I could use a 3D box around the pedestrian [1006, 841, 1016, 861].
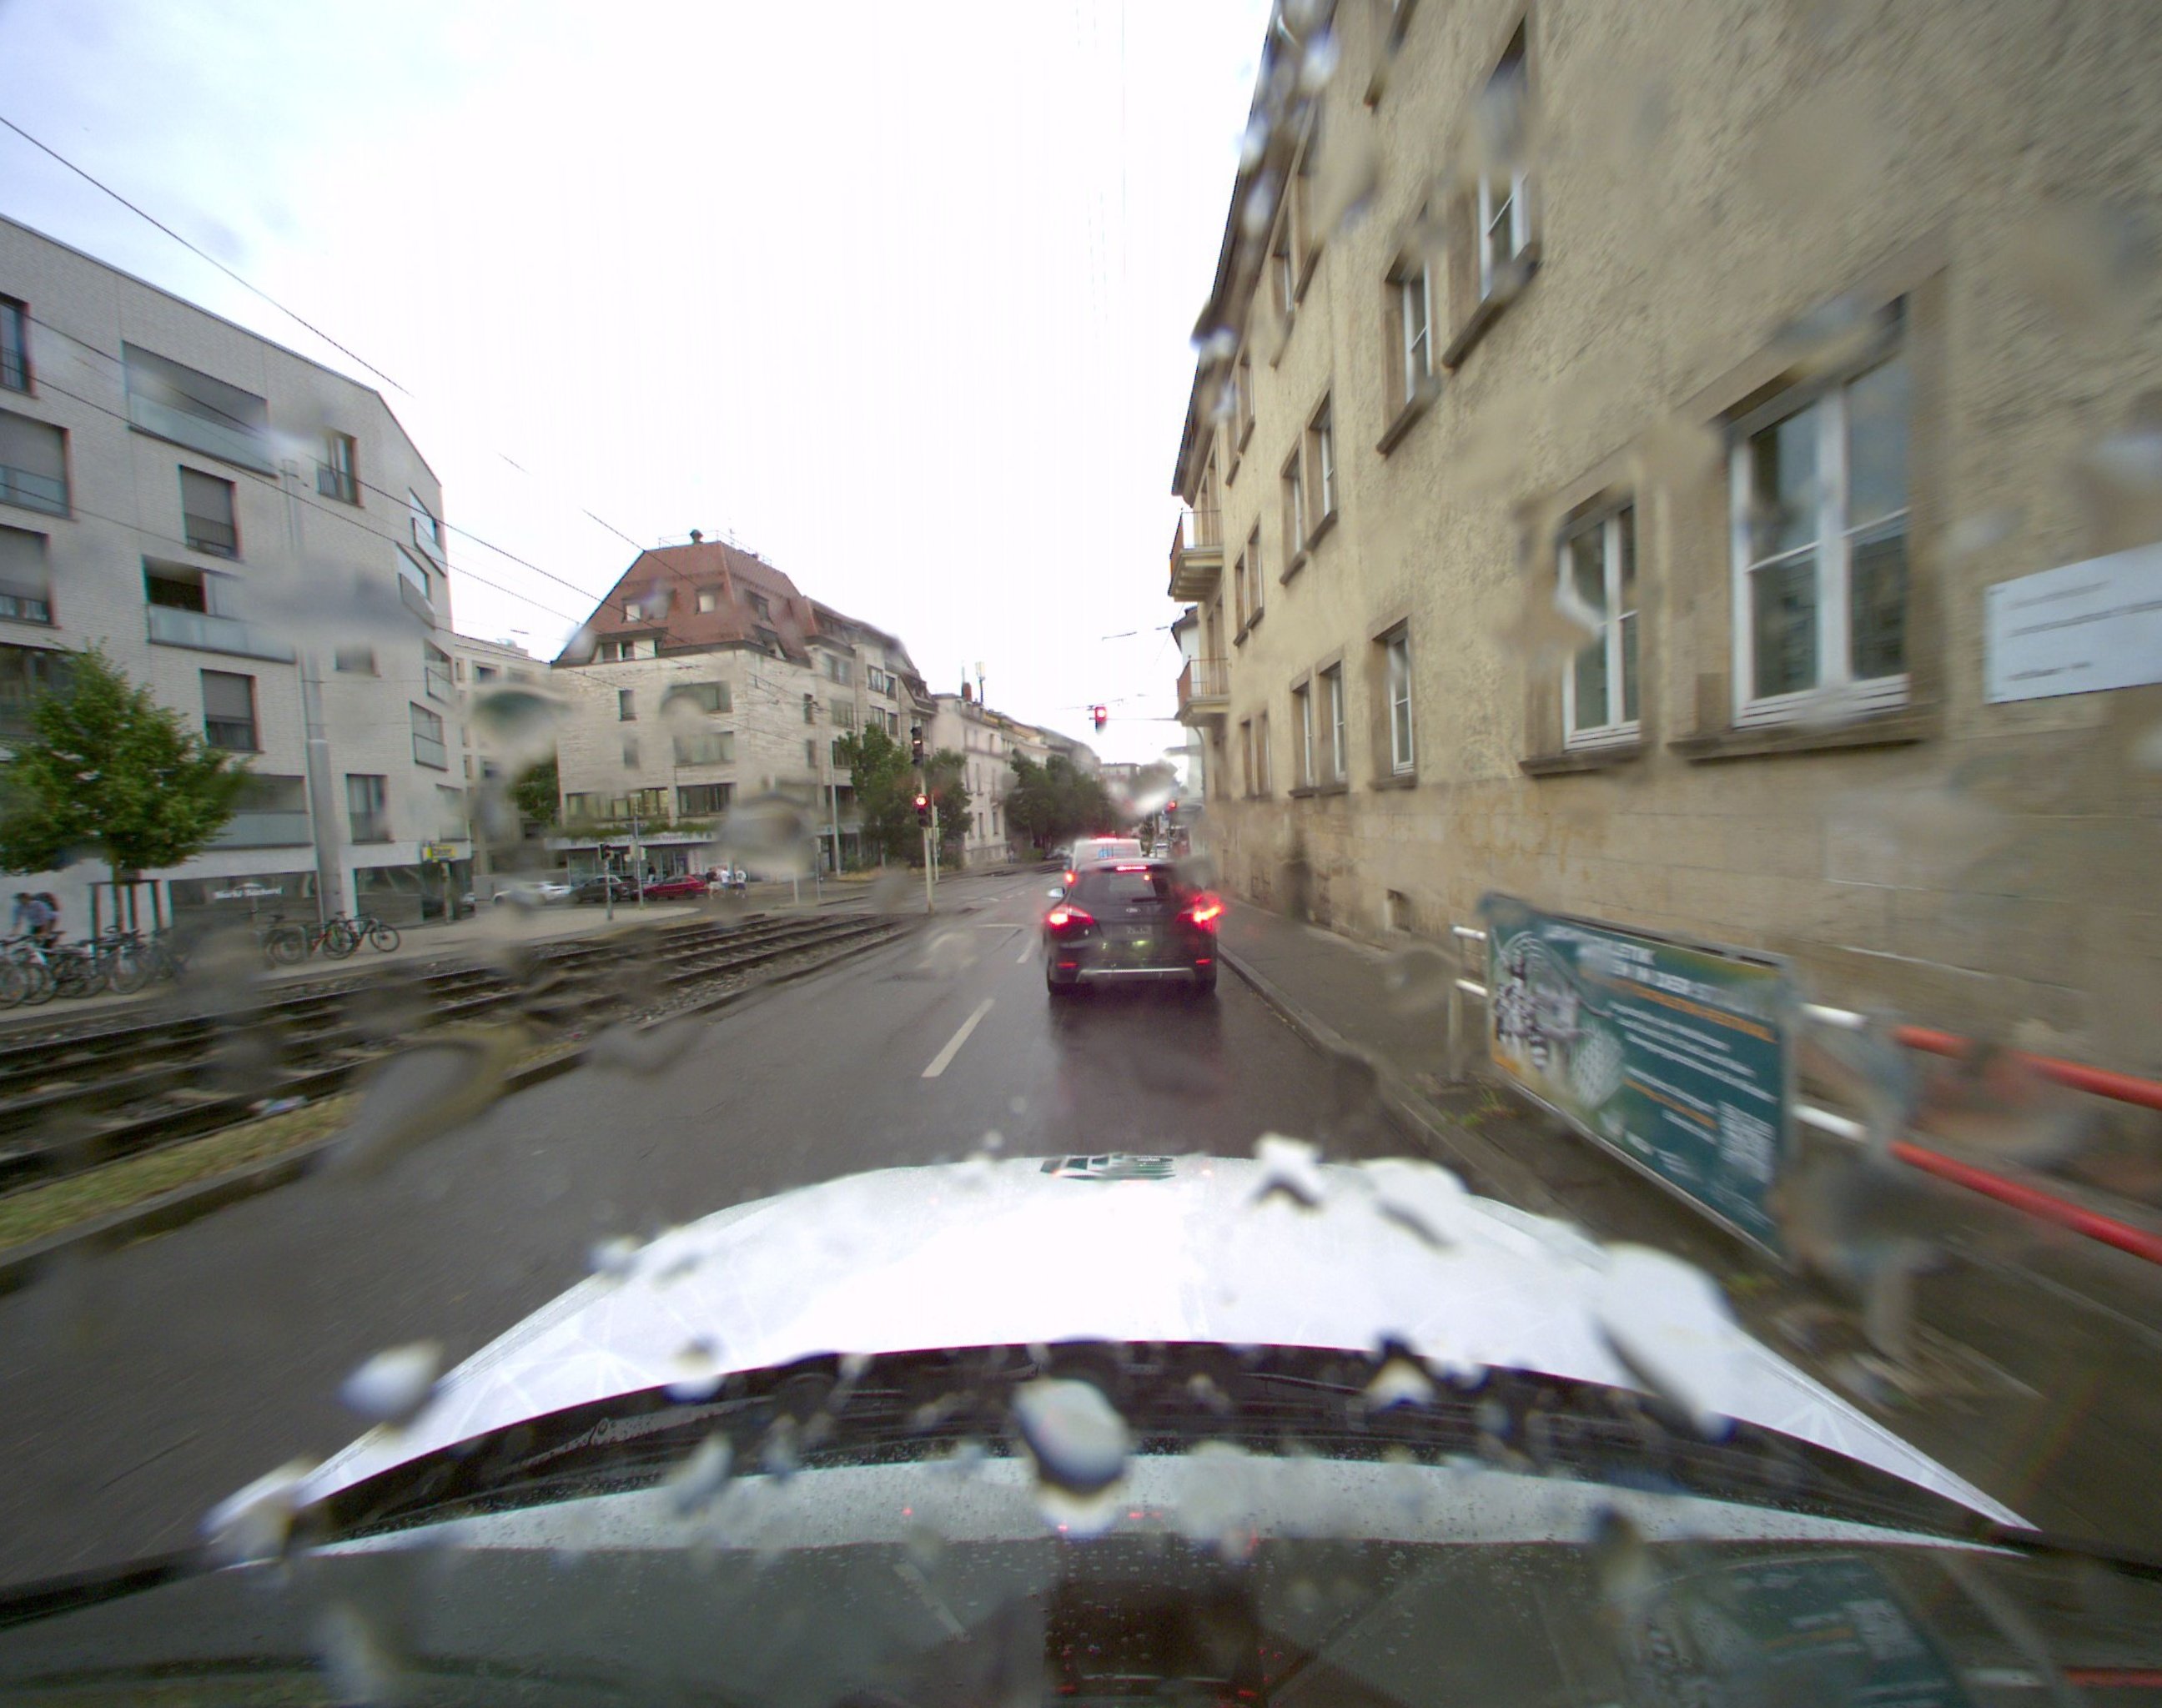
[{"bbox_3d":[-7.438,-0.335,86.388,0.941,2.013,0.763,-3,0,-8],"label":"pedestrian"}]

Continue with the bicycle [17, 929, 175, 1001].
[{"bbox_3d":[-16.915,1.889,14.020,1.798,1.064,0.455,-2,0,-13],"label":"bicycle"}]

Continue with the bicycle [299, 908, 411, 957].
[{"bbox_3d":[-17.770,1.914,19.973,1.947,1.028,0.719,-2,0,-7],"label":"bicycle"}]

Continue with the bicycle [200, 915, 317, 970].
[{"bbox_3d":[-18.211,1.947,18.062,1.797,1.064,0.567,-2,0,-11],"label":"bicycle"}]

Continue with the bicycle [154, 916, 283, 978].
[{"bbox_3d":[-17.816,1.899,16.860,1.802,1.108,0.453,-2,0,-18],"label":"bicycle"}]

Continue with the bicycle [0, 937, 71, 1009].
[{"bbox_3d":[-17.373,1.920,12.934,1.796,1.064,0.456,-2,0,-10],"label":"bicycle"}]

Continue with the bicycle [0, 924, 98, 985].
[{"bbox_3d":[-21.868,2.093,17.054,0.455,1.064,1.800,-2,0,-4],"label":"bicycle"}]

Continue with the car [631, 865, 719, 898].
[{"bbox_3d":[-22.990,1.542,46.150,4.107,1.568,1.829,-3,0,10],"label":"car"}]

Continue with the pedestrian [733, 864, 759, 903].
[{"bbox_3d":[-17.769,1.560,43.257,0.938,2.013,0.765,-3,0,2],"label":"pedestrian"}]

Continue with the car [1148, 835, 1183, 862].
[{"bbox_3d":[6.106,-0.392,58.436,1.980,1.772,4.014,-3,0,13],"label":"car"}]

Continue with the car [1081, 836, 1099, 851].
[{"bbox_3d":[1.348,-1.503,120.243,1.983,2.013,4.008,-3,0,7],"label":"car"}]

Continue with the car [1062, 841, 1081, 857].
[{"bbox_3d":[-1.279,-0.726,108.950,1.983,2.013,4.008,-3,0,7],"label":"car"}]

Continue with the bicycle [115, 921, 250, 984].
[{"bbox_3d":[-17.609,1.914,15.992,1.798,1.064,0.455,-2,0,-13],"label":"bicycle"}]

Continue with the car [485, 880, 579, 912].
[{"bbox_3d":[-32.309,2.465,48.012,4.431,1.568,1.914,-3,0,10],"label":"car"}]

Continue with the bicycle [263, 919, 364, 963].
[{"bbox_3d":[-17.744,2.003,18.851,1.649,0.866,0.567,-2,0,-9],"label":"bicycle"}]

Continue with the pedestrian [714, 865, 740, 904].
[{"bbox_3d":[-18.778,1.619,43.173,0.939,2.013,0.764,-3,0,-2],"label":"pedestrian"}]

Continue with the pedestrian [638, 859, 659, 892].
[{"bbox_3d":[-26.944,1.346,50.712,0.790,2.013,0.706,-3,0,9],"label":"pedestrian"}]

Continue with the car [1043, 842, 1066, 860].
[{"bbox_3d":[-3.096,-0.355,96.360,1.983,2.013,4.008,-3,0,7],"label":"car"}]

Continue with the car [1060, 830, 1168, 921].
[{"bbox_3d":[0.653,0.438,19.043,2.131,1.745,4.216,-4,0,-1],"label":"car"}]

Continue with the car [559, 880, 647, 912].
[{"bbox_3d":[-27.694,2.404,47.233,4.107,1.568,1.829,-3,0,10],"label":"car"}]

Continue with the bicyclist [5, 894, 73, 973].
[{"bbox_3d":[-21.886,1.645,17.115,0.460,1.574,0.701,-3,0,-4],"label":"bicyclist"}]

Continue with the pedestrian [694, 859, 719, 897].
[{"bbox_3d":[-20.554,1.328,44.740,0.939,2.013,0.764,-3,0,-2],"label":"pedestrian"}]

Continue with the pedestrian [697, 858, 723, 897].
[{"bbox_3d":[-19.933,1.246,43.780,0.939,2.013,0.764,-3,0,-2],"label":"pedestrian"}]

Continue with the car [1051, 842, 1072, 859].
[{"bbox_3d":[-2.467,-0.474,102.490,1.983,2.013,4.008,-3,0,7],"label":"car"}]

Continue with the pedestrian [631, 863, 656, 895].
[{"bbox_3d":[-27.782,1.598,51.741,0.901,1.931,0.826,-5,1,2],"label":"pedestrian"}]

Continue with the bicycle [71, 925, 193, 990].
[{"bbox_3d":[-17.423,1.889,14.964,1.760,1.071,0.486,-2,0,4],"label":"bicycle"}]

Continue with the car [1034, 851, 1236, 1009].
[{"bbox_3d":[0.513,0.736,9.861,1.914,1.479,3.999,-1,0,0],"label":"car"}]
